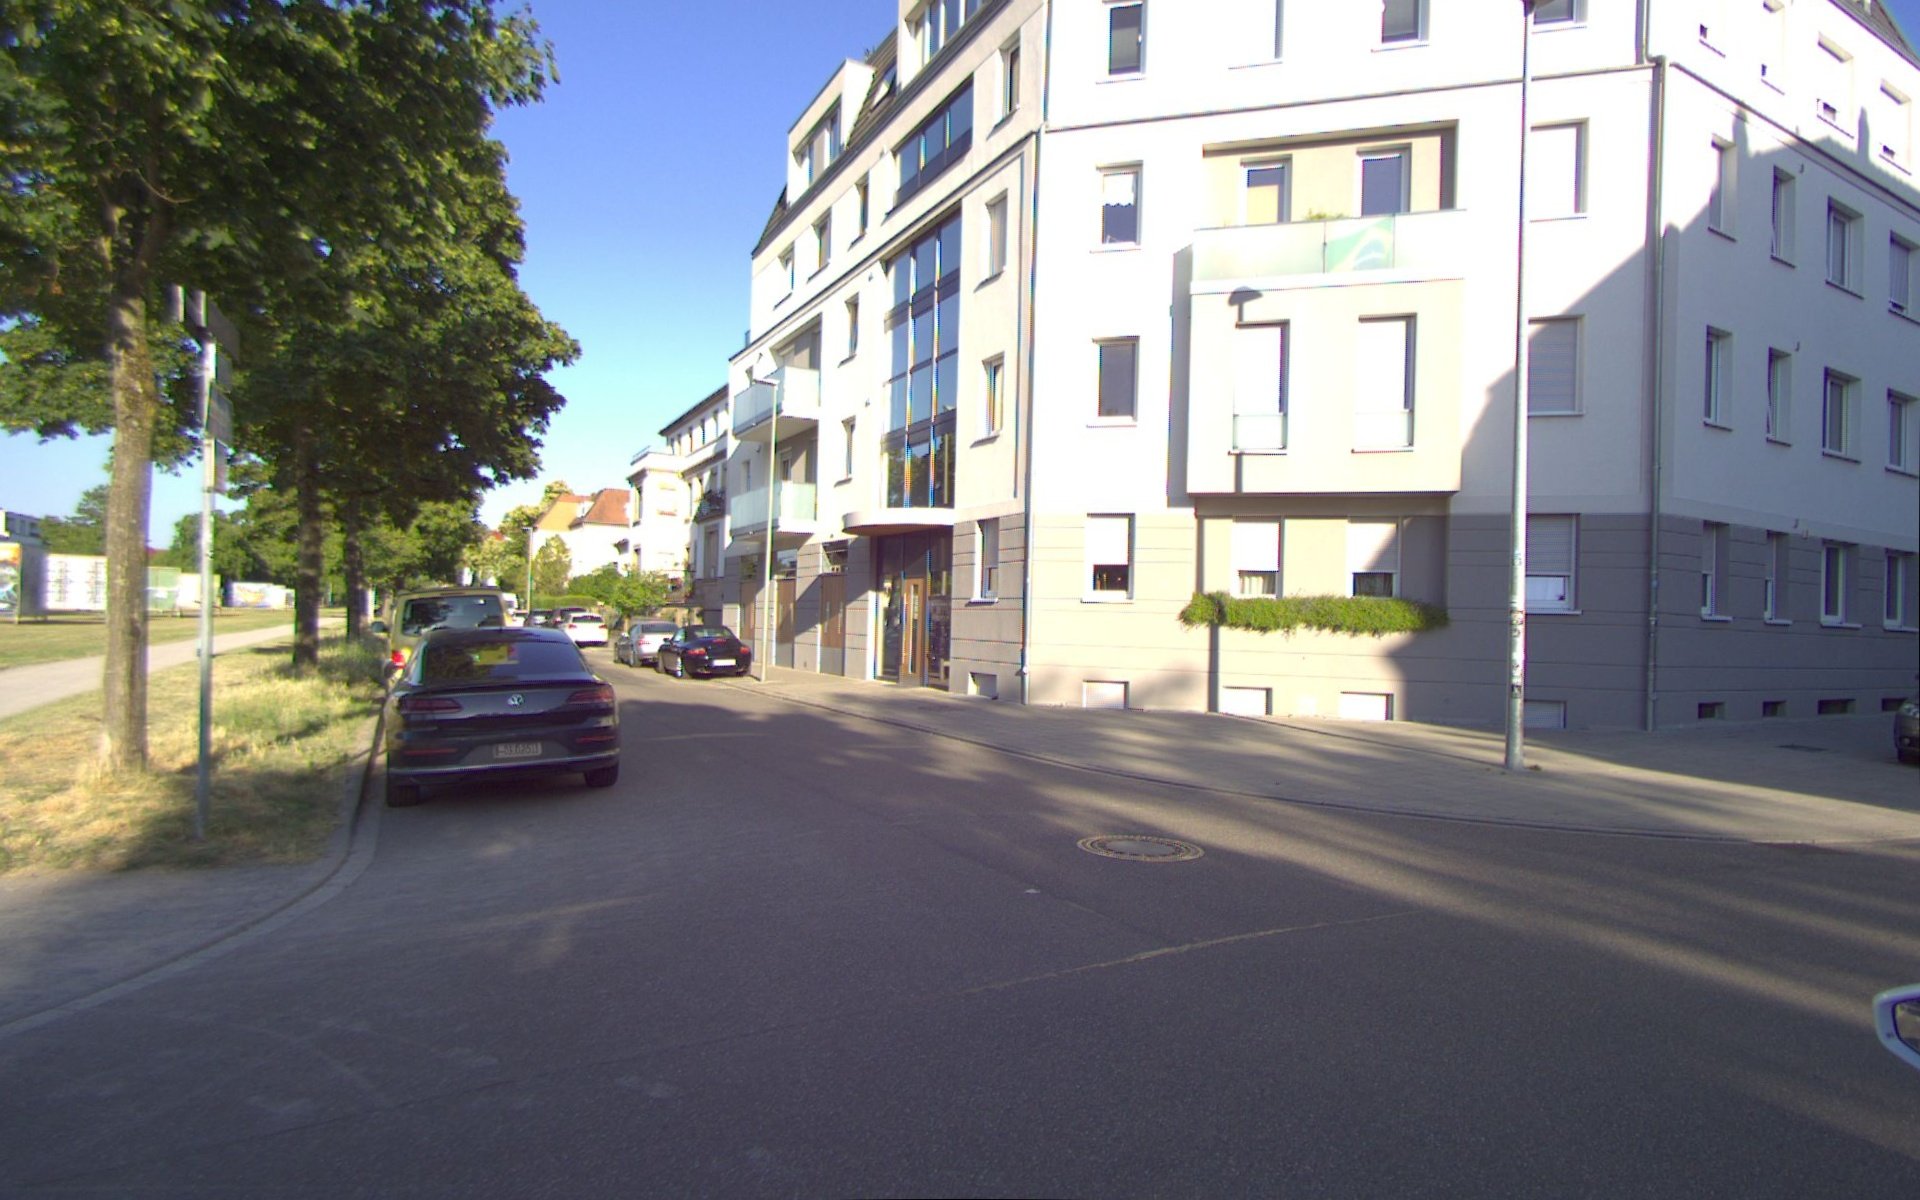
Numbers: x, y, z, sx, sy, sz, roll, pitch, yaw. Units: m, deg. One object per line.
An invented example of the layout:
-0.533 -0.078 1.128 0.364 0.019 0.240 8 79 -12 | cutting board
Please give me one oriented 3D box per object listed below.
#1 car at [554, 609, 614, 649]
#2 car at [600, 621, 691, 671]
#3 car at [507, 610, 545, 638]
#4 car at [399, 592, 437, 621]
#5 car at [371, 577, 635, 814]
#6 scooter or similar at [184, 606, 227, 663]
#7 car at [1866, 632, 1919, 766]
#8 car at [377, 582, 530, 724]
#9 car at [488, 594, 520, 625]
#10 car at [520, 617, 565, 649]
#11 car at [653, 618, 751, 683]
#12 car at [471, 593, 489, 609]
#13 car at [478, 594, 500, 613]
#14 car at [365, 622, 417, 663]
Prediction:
-16.031 1.207 42.709 1.804 1.601 3.807 2 -1 -29 | car
-9.381 1.337 29.768 1.609 1.256 3.697 4 -2 -33 | car
-27.535 1.497 63.655 1.804 1.601 3.937 2 -1 -29 | car
-39.325 0.449 72.943 2.200 1.971 4.479 2 -1 -26 | car
-4.524 0.715 9.700 1.767 1.691 4.803 2 -1 -28 | car
-15.878 0.709 21.166 0.447 1.131 1.636 2 -1 -28 | scooter or similar
13.599 1.285 12.918 4.045 1.612 1.874 2 -1 -32 | car
-8.732 0.765 17.145 2.009 2.041 4.657 -2 1 -30 | car
-34.496 0.709 75.909 1.974 2.243 4.103 2 -1 -26 | car
-22.839 1.779 54.846 1.804 1.601 4.131 2 -1 -29 | car
-6.579 1.210 25.407 1.605 1.441 3.703 0 0 -28 | car
-55.888 0.102 116.983 1.824 1.765 3.869 2 -1 -26 | car
-45.150 0.338 96.267 1.843 1.696 4.103 2 -1 -26 | car
-24.512 1.826 43.348 1.804 1.601 3.807 2 -1 -29 | car
